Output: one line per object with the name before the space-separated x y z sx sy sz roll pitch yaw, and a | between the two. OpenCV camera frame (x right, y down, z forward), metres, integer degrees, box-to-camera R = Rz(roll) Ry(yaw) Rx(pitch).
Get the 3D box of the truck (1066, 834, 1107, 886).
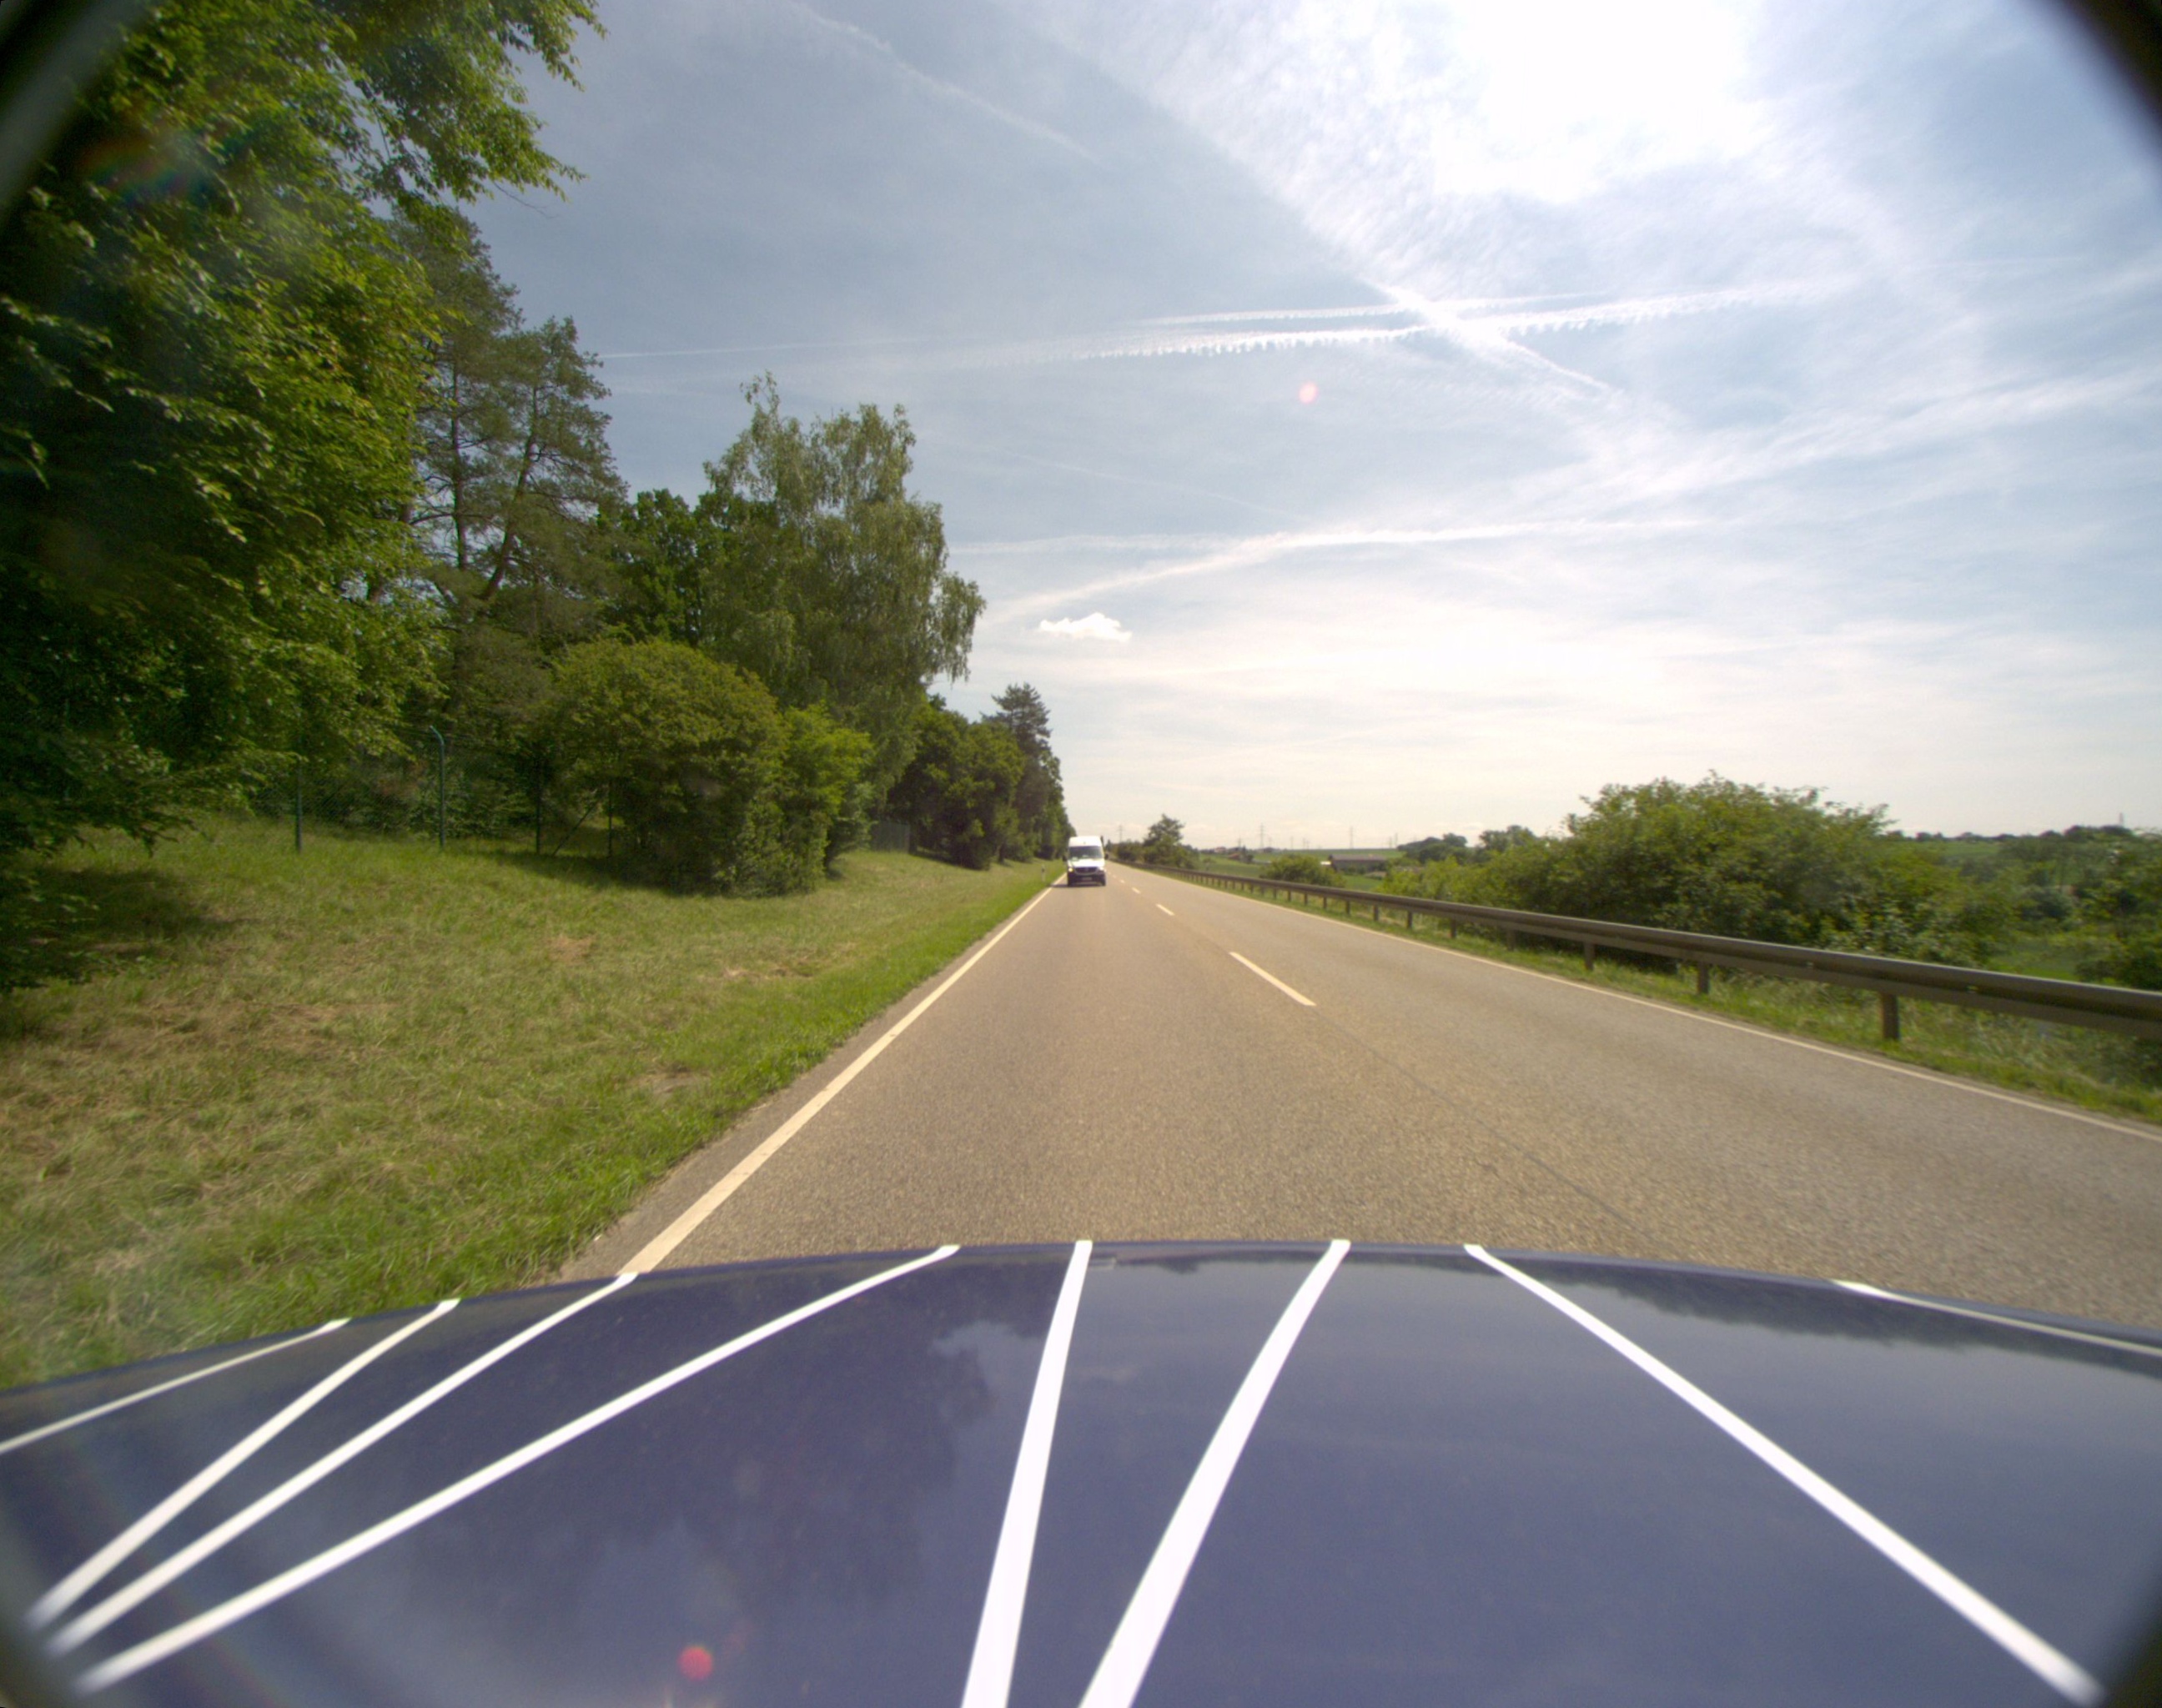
truck | 0.294 0.271 41.434 2.023 2.567 7.225 0 0 1
